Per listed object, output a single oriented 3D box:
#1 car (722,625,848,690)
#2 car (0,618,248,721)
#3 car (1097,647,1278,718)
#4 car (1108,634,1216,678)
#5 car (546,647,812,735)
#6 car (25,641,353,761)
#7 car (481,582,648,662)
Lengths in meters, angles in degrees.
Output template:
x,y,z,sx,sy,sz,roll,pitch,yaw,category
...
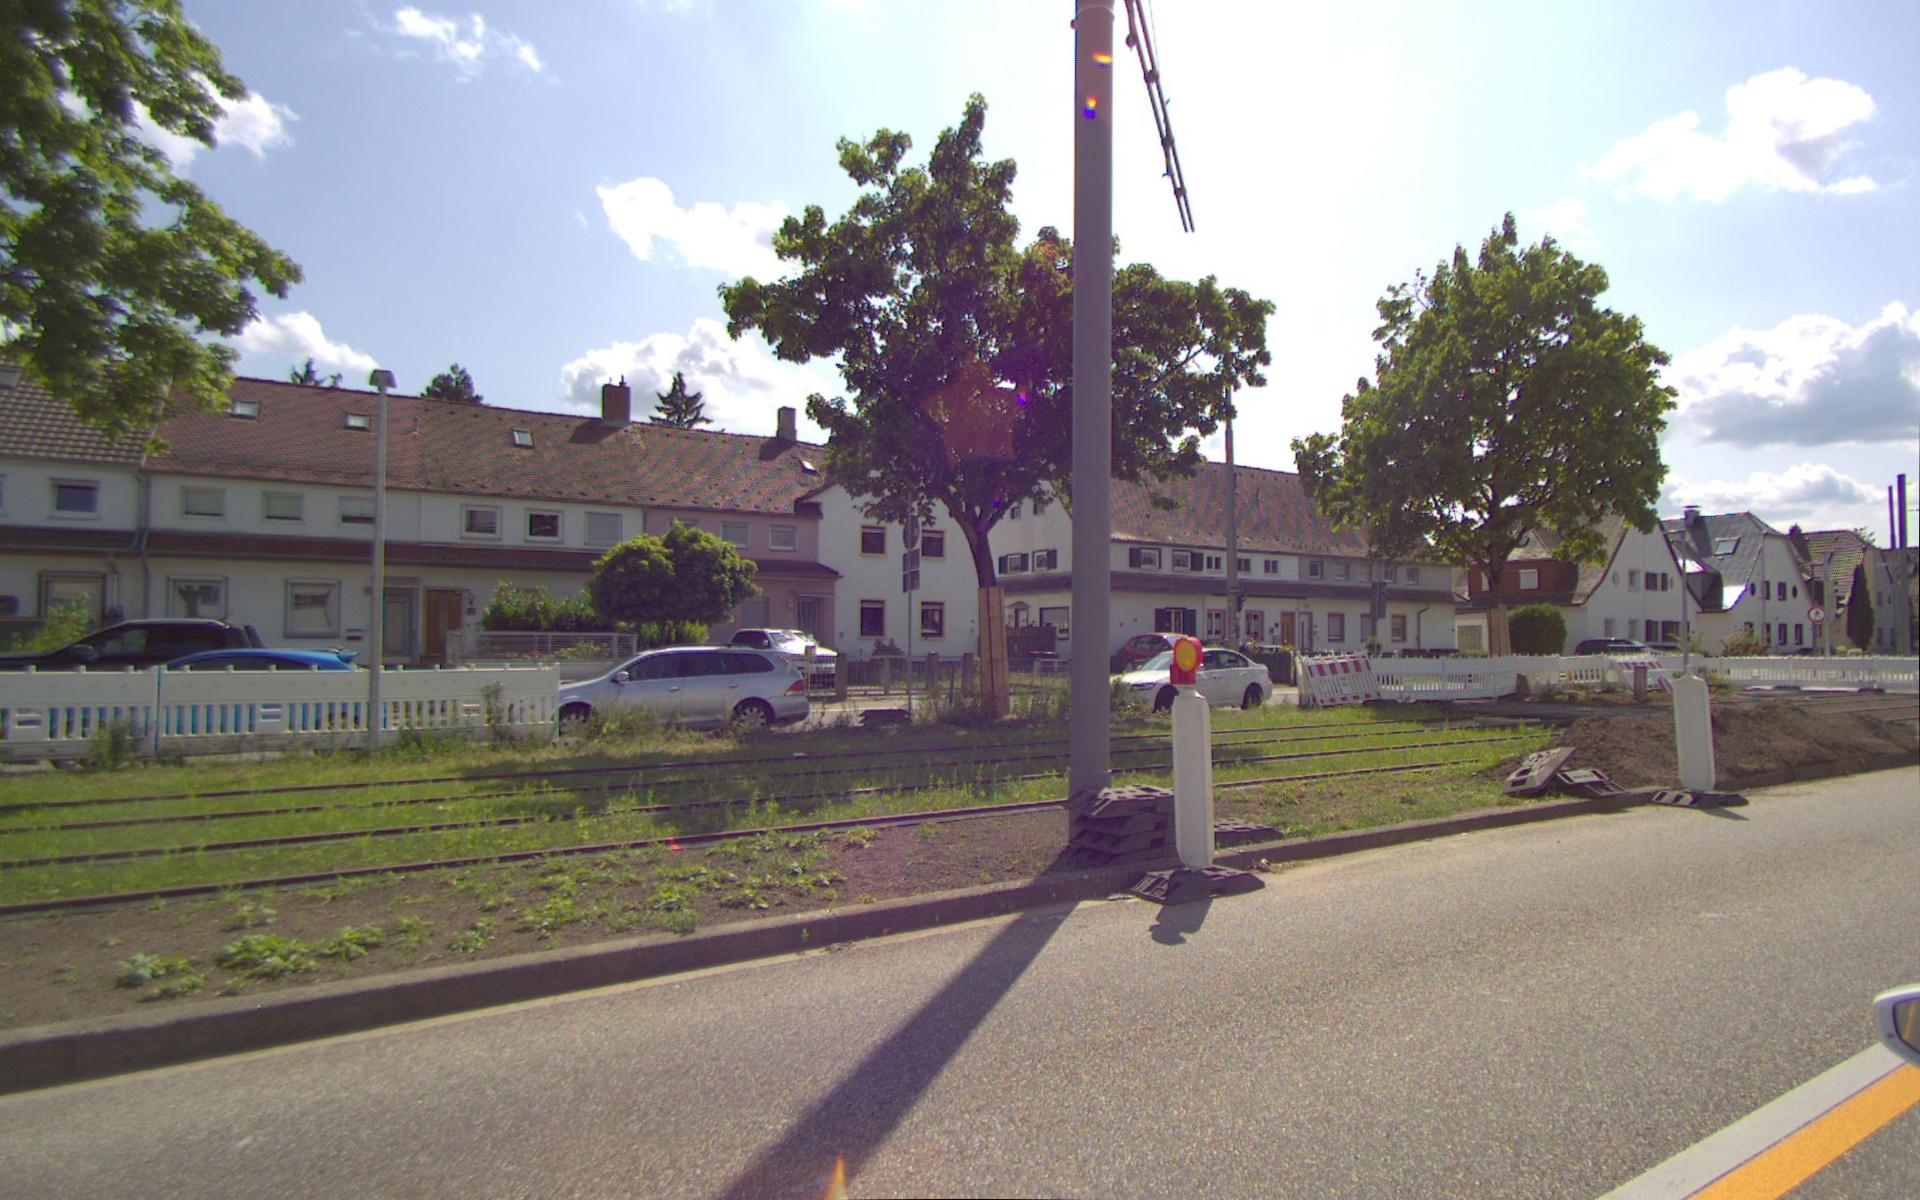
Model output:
x,y,z,sx,sy,sz,roll,pitch,yaw,category
-5.364,1.684,30.444,1.785,1.708,4.369,2,-1,-40,car
-13.356,1.083,16.073,3.058,1.515,1.349,2,-3,-32,car
5.025,1.734,21.944,4.212,1.394,1.530,2,-3,-37,car
7.408,2.040,37.135,1.707,1.529,3.966,1,-3,-31,car
-4.289,1.331,15.487,3.705,1.192,1.495,2,-3,-31,car
-9.587,1.204,12.777,3.137,1.342,1.332,2,-3,-34,car
-10.861,0.623,27.603,3.955,2.040,1.983,2,-1,-32,car
